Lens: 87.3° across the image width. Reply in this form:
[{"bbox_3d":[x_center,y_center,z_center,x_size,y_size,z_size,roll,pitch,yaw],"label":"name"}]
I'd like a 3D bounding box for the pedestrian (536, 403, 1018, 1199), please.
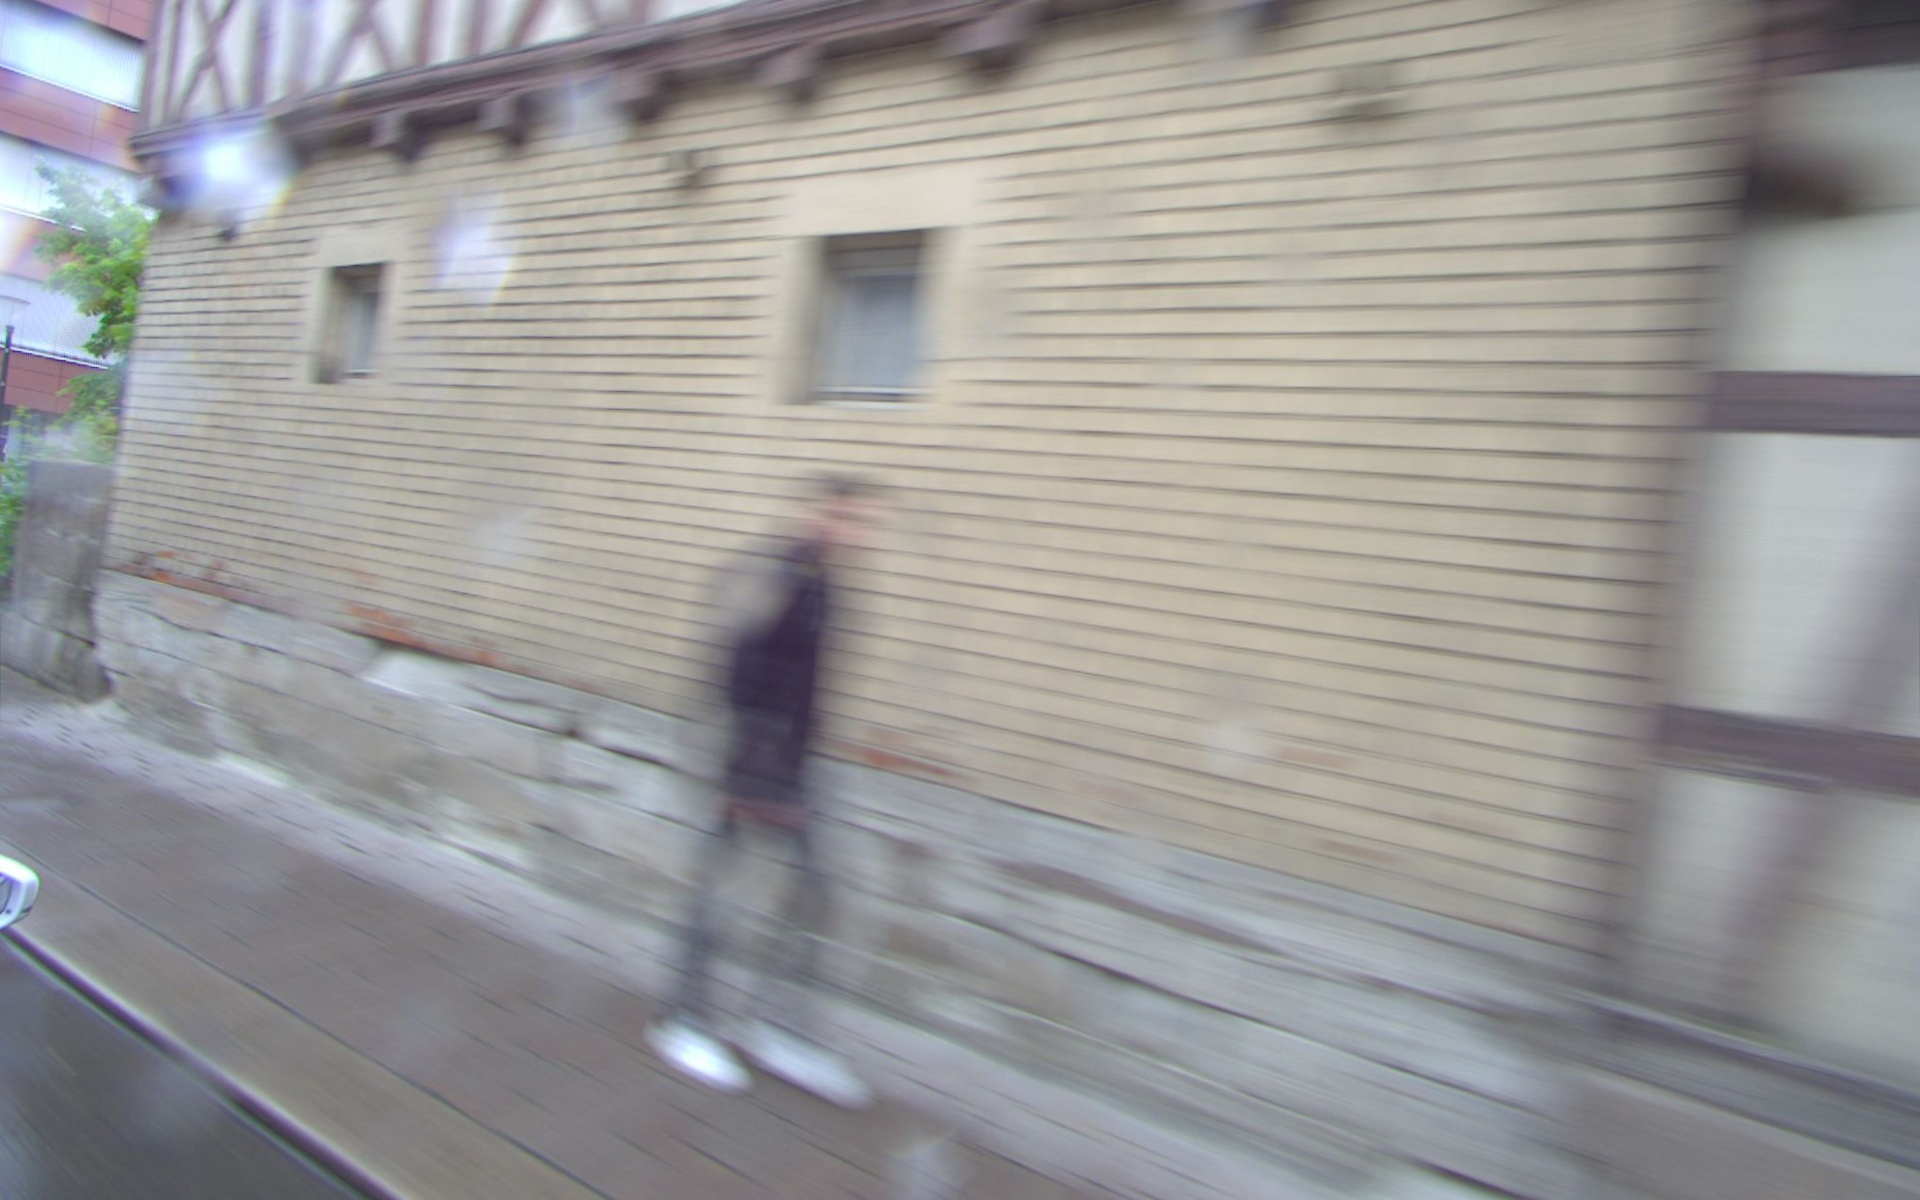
[{"bbox_3d":[-0.509,0.478,2.946,0.892,1.910,0.811,8,2,28],"label":"pedestrian"}]
